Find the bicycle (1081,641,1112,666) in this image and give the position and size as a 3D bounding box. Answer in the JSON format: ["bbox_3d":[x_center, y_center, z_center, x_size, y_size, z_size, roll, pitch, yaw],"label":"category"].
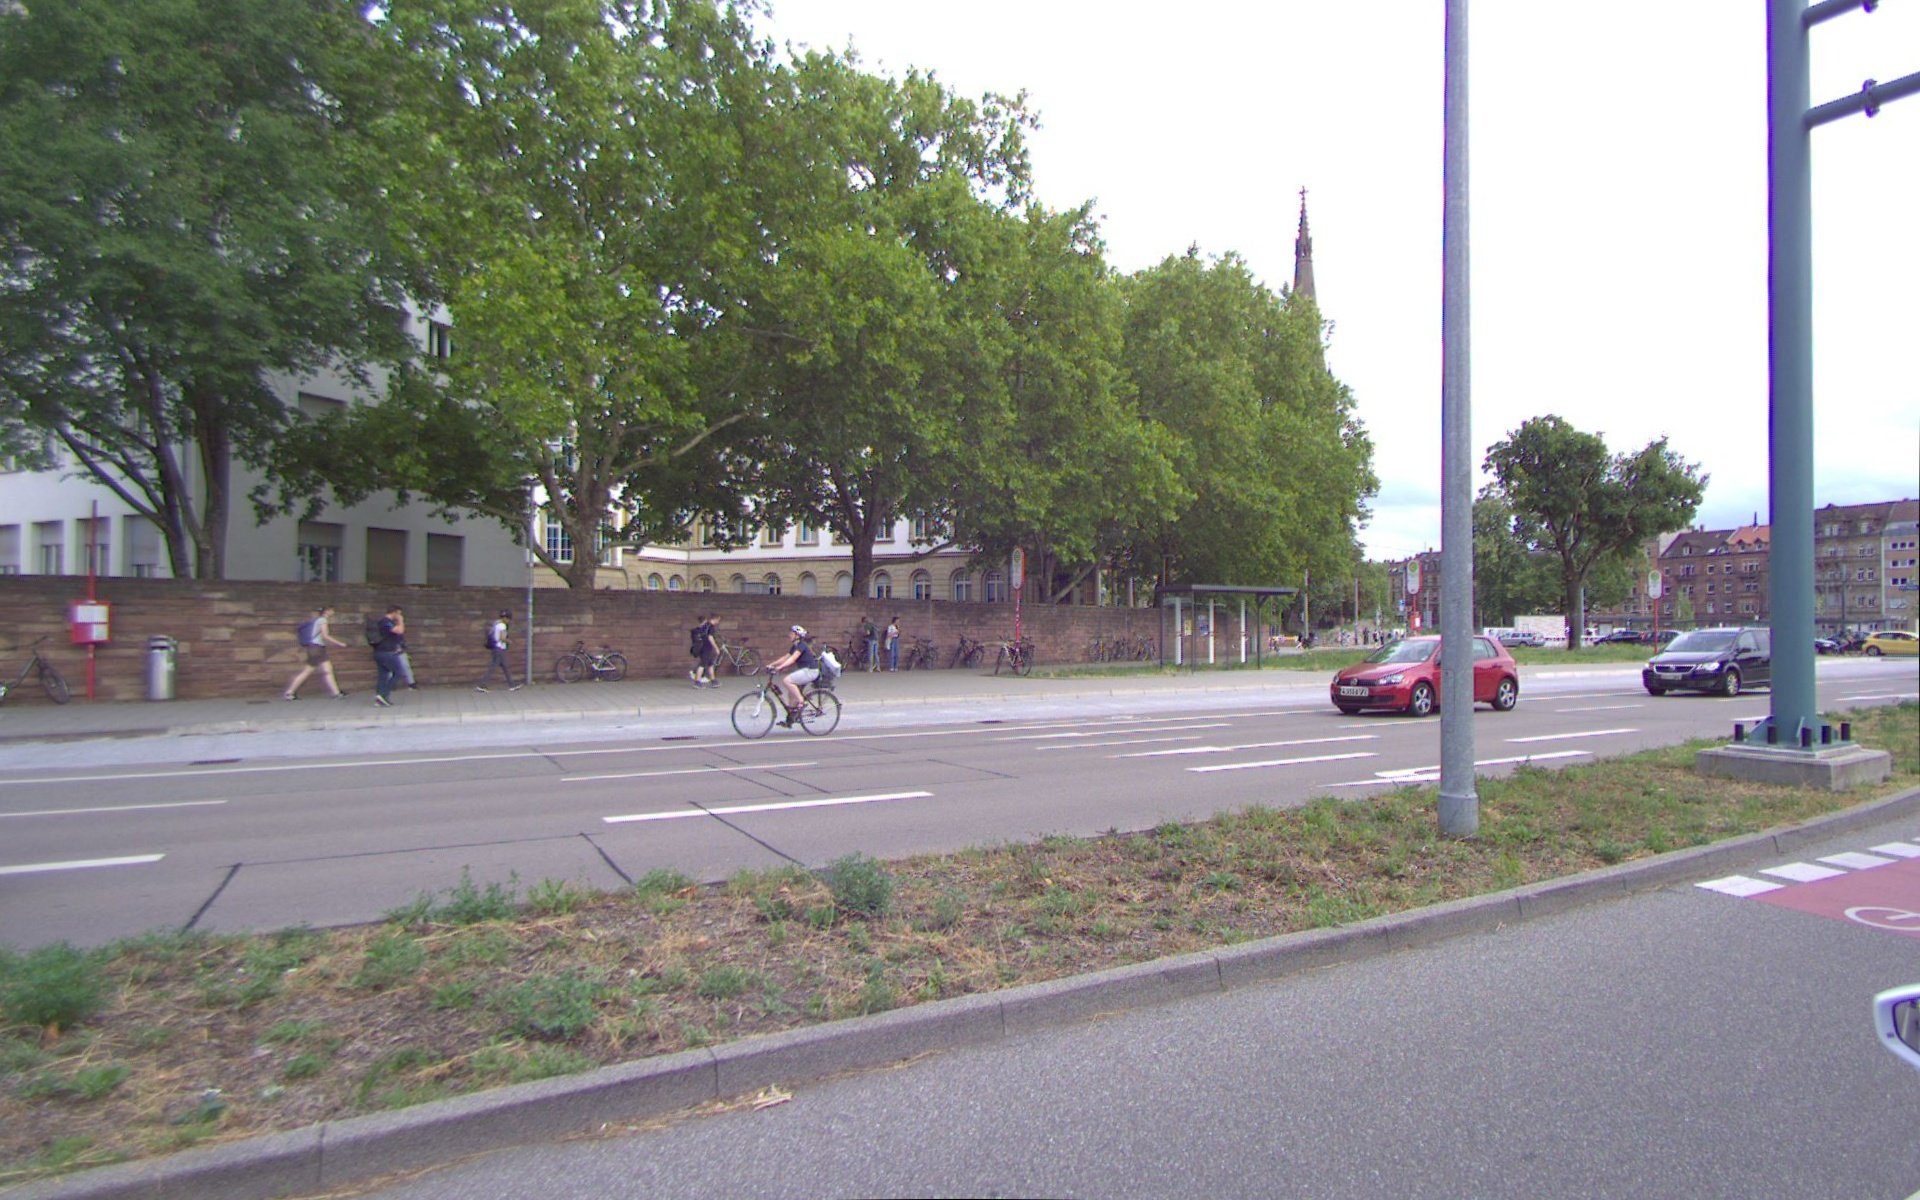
[{"bbox_3d":[5.451,2.124,39.934,0.475,0.919,1.614,2,0,37],"label":"bicycle"}]

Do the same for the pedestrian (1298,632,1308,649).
[{"bbox_3d":[31.210,3.695,91.335,0.718,1.581,0.558,1,-1,-34],"label":"pedestrian"}]

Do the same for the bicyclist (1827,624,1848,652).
[{"bbox_3d":[51.532,2.229,58.997,0.566,1.665,0.782,1,-2,-33],"label":"bicyclist"}]

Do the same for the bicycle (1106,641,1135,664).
[{"bbox_3d":[6.683,2.167,41.749,0.475,0.919,1.614,2,0,37],"label":"bicycle"}]

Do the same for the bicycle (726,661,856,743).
[{"bbox_3d":[-2.639,1.570,15.755,1.937,1.186,0.580,1,-1,-24],"label":"bicycle"}]

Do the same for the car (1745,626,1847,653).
[{"bbox_3d":[52.265,2.433,62.873,1.642,1.495,4.642,1,0,-33],"label":"car"}]

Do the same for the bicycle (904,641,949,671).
[{"bbox_3d":[-1.066,1.781,31.986,0.435,0.890,1.613,2,0,40],"label":"bicycle"}]

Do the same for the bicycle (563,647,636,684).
[{"bbox_3d":[-8.644,1.557,24.154,0.436,0.838,1.611,2,0,44],"label":"bicycle"}]

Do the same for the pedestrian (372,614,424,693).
[{"bbox_3d":[-11.704,1.112,20.925,0.579,1.613,0.732,0,-2,39],"label":"pedestrian"}]

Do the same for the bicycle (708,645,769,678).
[{"bbox_3d":[-5.917,1.631,26.903,0.436,0.838,1.611,2,0,44],"label":"bicycle"}]

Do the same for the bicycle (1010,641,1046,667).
[{"bbox_3d":[2.467,1.947,36.247,0.475,0.919,1.614,-1,-2,38],"label":"bicycle"}]

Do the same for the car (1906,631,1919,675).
[{"bbox_3d":[32.322,1.684,32.255,3.873,1.407,1.664,1,-2,-28],"label":"car"}]

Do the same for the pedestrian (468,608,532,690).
[{"bbox_3d":[-9.764,1.033,21.327,0.748,1.693,0.922,0,-2,33],"label":"pedestrian"}]

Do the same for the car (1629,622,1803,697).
[{"bbox_3d":[18.509,1.425,24.577,4.248,1.687,1.794,1,-3,-29],"label":"car"}]

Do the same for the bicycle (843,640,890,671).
[{"bbox_3d":[-2.789,1.649,30.126,0.343,0.890,1.513,2,0,44],"label":"bicycle"}]

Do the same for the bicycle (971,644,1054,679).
[{"bbox_3d":[1.460,1.683,27.660,2.304,0.931,0.469,1,-1,-21],"label":"bicycle"}]

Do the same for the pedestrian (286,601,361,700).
[{"bbox_3d":[-12.033,0.942,19.010,0.748,1.806,0.912,0,-2,33],"label":"pedestrian"}]

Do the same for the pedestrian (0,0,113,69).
[{"bbox_3d":[-13.004,-7.920,13.599,0.956,1.089,1.922,-6,27,17],"label":"pedestrian"}]

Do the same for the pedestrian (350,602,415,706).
[{"bbox_3d":[-10.269,0.947,17.865,0.749,1.806,0.719,0,-2,38],"label":"pedestrian"}]

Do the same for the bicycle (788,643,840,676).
[{"bbox_3d":[-4.163,1.697,28.695,0.412,0.890,1.546,2,0,44],"label":"bicycle"}]

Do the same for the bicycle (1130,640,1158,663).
[{"bbox_3d":[7.936,2.206,43.306,0.475,0.919,1.614,2,0,37],"label":"bicycle"}]

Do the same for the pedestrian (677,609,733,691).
[{"bbox_3d":[-5.753,1.124,22.677,0.748,1.806,0.922,0,-2,33],"label":"pedestrian"}]

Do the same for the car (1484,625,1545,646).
[{"bbox_3d":[45.761,2.895,83.001,1.630,1.671,4.129,1,-2,-34],"label":"car"}]

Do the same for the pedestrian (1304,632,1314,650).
[{"bbox_3d":[31.358,3.686,90.287,0.718,1.581,0.558,1,-1,-34],"label":"pedestrian"}]

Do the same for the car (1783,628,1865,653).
[{"bbox_3d":[55.904,2.607,65.074,1.567,1.413,3.741,1,0,-33],"label":"car"}]

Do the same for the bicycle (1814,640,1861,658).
[{"bbox_3d":[51.545,2.854,59.006,0.624,0.995,1.953,1,-2,-33],"label":"bicycle"}]

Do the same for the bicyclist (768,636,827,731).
[{"bbox_3d":[-2.565,1.290,15.794,0.800,1.437,0.579,1,-1,-24],"label":"bicyclist"}]

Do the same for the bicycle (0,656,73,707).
[{"bbox_3d":[-16.389,1.406,17.319,1.606,0.807,0.437,0,2,-38],"label":"bicycle"}]

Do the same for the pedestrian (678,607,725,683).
[{"bbox_3d":[-6.333,1.096,24.643,0.748,1.806,0.782,0,-2,33],"label":"pedestrian"}]

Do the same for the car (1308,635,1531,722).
[{"bbox_3d":[8.952,1.446,19.516,4.236,1.509,1.794,1,-1,-29],"label":"car"}]

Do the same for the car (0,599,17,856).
[{"bbox_3d":[-7.142,0.705,4.197,4.357,1.509,1.792,1,-2,-32],"label":"car"}]

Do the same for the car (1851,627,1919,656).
[{"bbox_3d":[54.835,2.408,58.713,1.642,1.537,3.834,1,0,-33],"label":"car"}]

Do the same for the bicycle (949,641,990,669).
[{"bbox_3d":[0.336,1.840,33.607,0.435,0.890,1.613,2,0,40],"label":"bicycle"}]
